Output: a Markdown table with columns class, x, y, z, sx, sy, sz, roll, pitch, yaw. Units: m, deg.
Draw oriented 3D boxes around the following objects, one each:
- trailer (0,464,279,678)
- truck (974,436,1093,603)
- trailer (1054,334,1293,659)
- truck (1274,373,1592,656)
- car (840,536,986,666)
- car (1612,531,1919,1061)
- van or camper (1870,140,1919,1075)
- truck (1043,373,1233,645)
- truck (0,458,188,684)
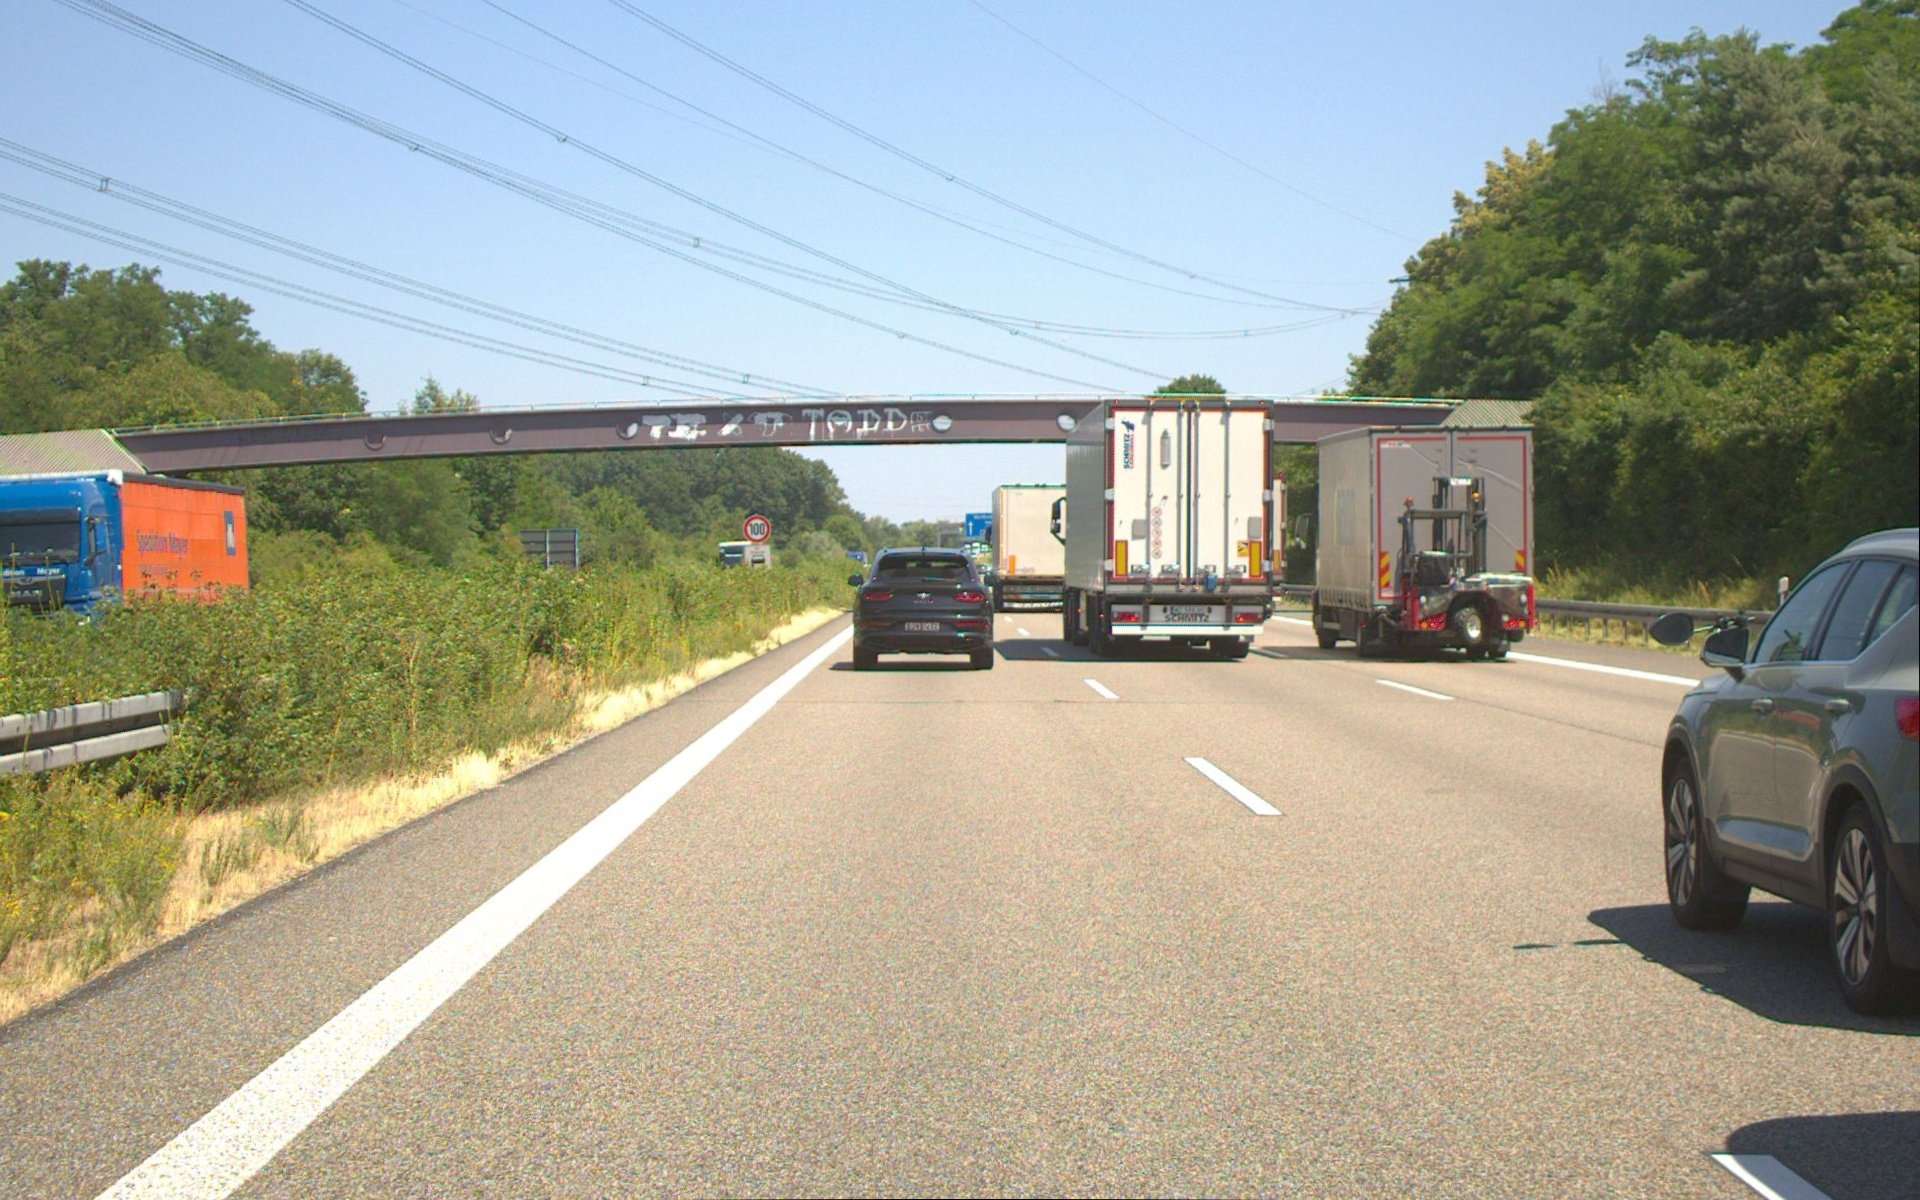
| class | x | y | z | sx | sy | sz | roll | pitch | yaw |
| --- | --- | --- | --- | --- | --- | --- | --- | --- | --- |
| trailer | -18.714 | -0.701 | 78.908 | 3.343 | 4.392 | 14.166 | -2 | 1 | -1 |
| truck | 2.293 | -2.557 | 111.732 | 3.512 | 5.149 | 10.259 | 0 | 1 | -1 |
| trailer | 3.412 | -1.618 | 58.299 | 3.087 | 4.868 | 12.258 | 1 | 0 | -1 |
| truck | 7.703 | -1.349 | 58.000 | 3.571 | 4.230 | 11.652 | 1 | 0 | -1 |
| car | -0.712 | -0.021 | 49.535 | 1.993 | 1.766 | 4.000 | -1 | 1 | -2 |
| car | 3.828 | 0.572 | 12.700 | 1.879 | 1.607 | 4.702 | 0 | 1 | -1 |
| van or camper | 3.976 | 0.061 | 7.113 | 2.439 | 2.665 | 6.350 | -1 | 1 | 0 |
| truck | 3.308 | -1.676 | 65.535 | 3.087 | 4.868 | 6.598 | 1 | 0 | -1 |
| truck | -18.650 | -0.599 | 71.521 | 3.343 | 4.392 | 7.972 | -2 | 1 | -1 |
